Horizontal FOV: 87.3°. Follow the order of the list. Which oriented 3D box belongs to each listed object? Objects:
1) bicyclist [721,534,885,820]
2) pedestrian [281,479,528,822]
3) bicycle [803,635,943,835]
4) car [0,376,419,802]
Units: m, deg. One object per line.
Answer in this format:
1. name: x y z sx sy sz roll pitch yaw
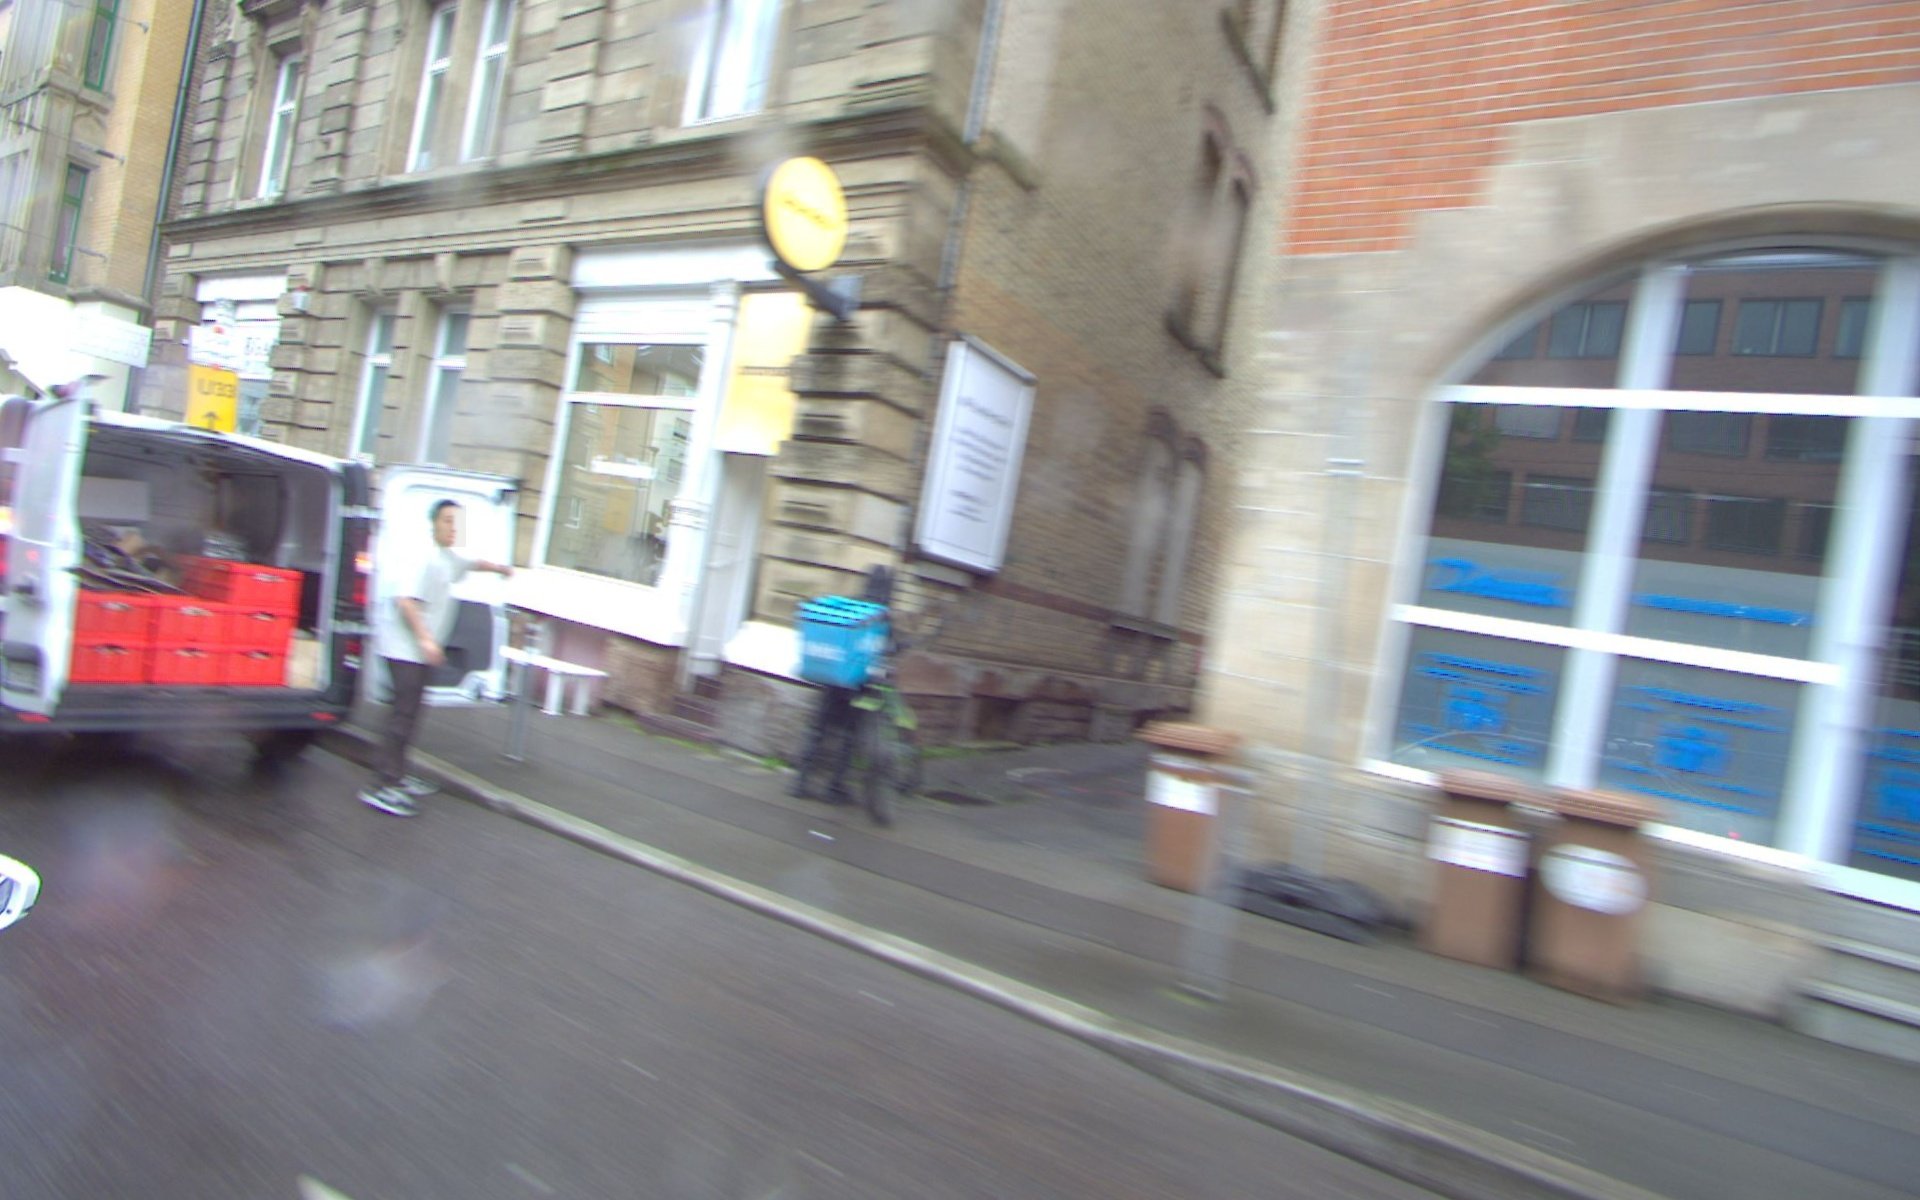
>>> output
1. bicyclist: -0.996 0.479 6.572 0.619 1.677 0.850 7 0 11
2. pedestrian: -3.188 0.277 5.832 0.820 1.775 0.687 7 0 10
3. bicycle: -0.533 0.830 6.819 0.456 1.129 1.690 7 0 8
4. car: -5.849 -0.179 6.657 4.610 1.958 1.923 7 -1 35
